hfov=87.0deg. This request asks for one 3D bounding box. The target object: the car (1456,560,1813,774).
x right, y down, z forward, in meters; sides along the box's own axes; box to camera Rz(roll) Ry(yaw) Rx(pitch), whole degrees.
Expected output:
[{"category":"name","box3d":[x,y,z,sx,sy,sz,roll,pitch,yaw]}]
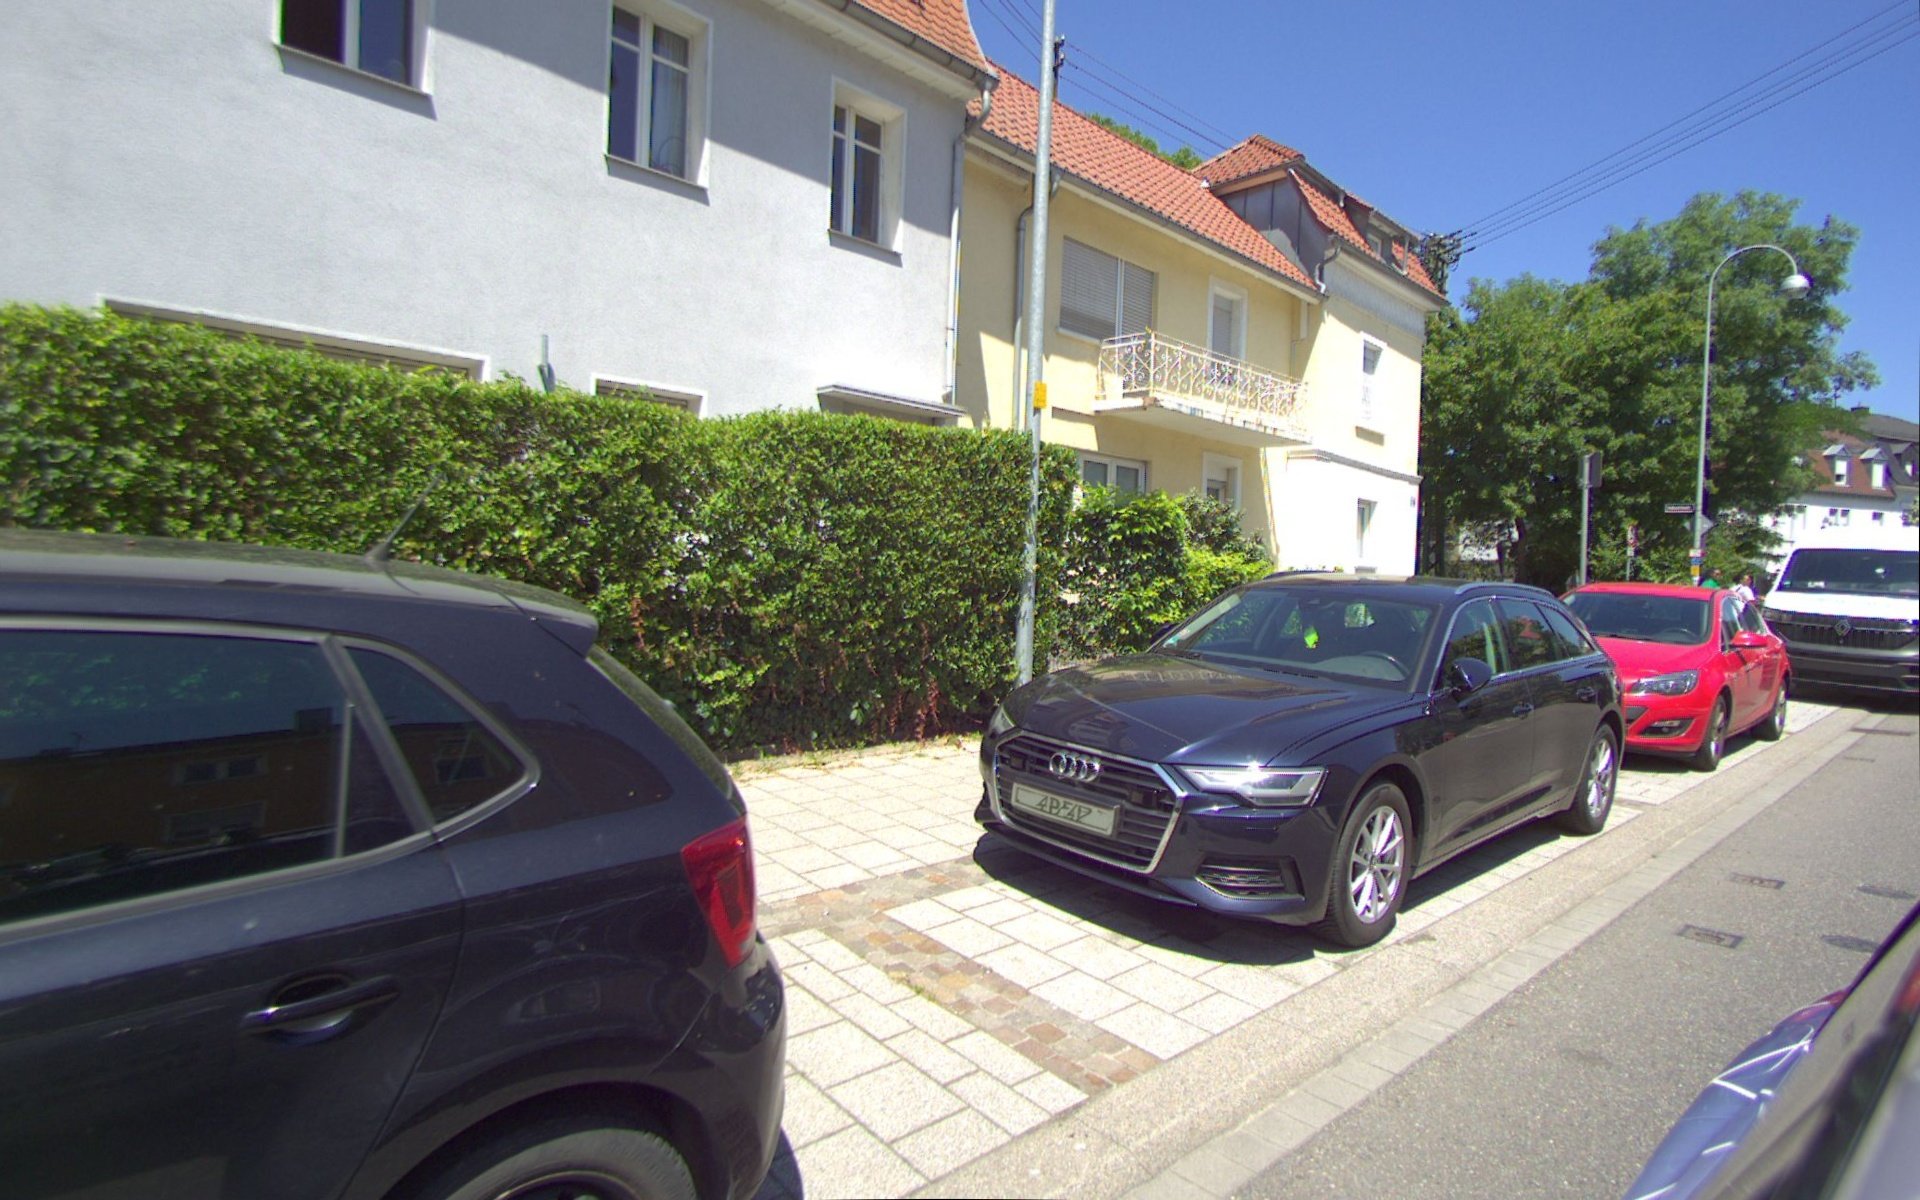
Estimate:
[{"category":"car","box3d":[6.471,0.475,9.532,4.079,1.549,1.807,0,3,-42]}]

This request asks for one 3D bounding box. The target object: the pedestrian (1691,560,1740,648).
[{"category":"pedestrian","box3d":[15.432,0.062,20.683,0.517,1.726,0.796,6,4,28]}]

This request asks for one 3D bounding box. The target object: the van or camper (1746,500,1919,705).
[{"category":"van or camper","box3d":[13.628,-0.043,14.736,6.068,2.497,2.114,-1,4,-40]}]

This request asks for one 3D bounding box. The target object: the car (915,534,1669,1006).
[{"category":"car","box3d":[2.148,0.533,5.589,4.639,1.492,1.807,0,5,-42]}]

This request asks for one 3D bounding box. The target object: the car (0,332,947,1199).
[{"category":"car","box3d":[-2.144,0.453,1.378,3.926,1.652,1.734,1,4,-38]}]

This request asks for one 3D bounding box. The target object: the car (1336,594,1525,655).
[{"category":"car","box3d":[12.527,0.654,27.215,1.613,1.486,4.405,1,-2,-34]}]

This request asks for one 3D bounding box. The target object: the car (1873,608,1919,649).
[{"category":"car","box3d":[49.914,1.481,52.006,1.958,2.039,4.008,1,0,-15]}]
